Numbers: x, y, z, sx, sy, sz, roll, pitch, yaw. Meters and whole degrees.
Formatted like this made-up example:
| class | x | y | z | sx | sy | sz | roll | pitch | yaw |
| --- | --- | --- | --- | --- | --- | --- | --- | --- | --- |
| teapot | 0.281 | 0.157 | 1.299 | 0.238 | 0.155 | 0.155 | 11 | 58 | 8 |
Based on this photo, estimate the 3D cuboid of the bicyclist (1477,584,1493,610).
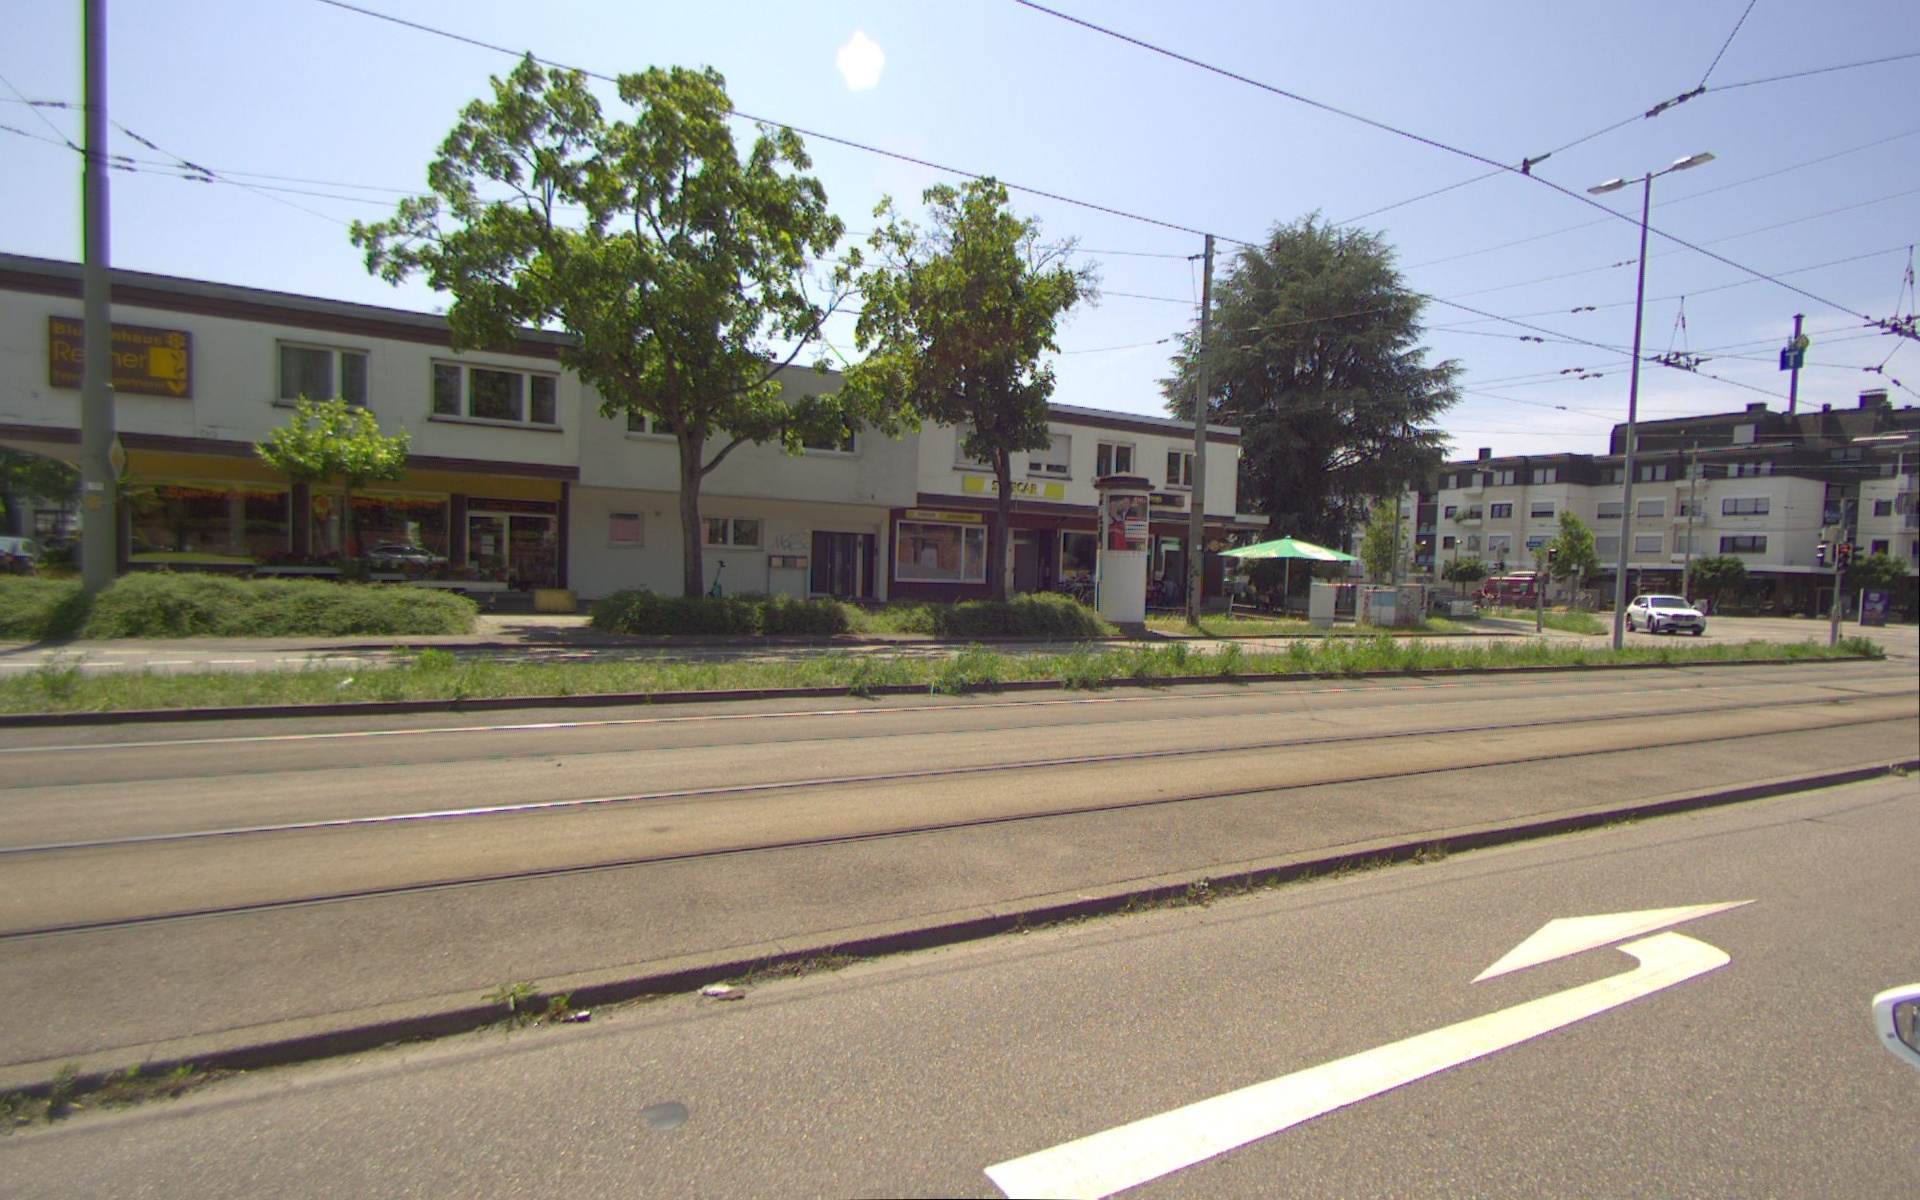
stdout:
| class | x | y | z | sx | sy | sz | roll | pitch | yaw |
| --- | --- | --- | --- | --- | --- | --- | --- | --- | --- |
| bicyclist | 31.639 | -0.186 | 60.519 | 0.741 | 1.521 | 0.480 | 2 | 0 | 39 |

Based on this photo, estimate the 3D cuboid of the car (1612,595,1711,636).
| class | x | y | z | sx | sy | sz | roll | pitch | yaw |
| --- | --- | --- | --- | --- | --- | --- | --- | --- | --- |
| car | 29.842 | 0.638 | 42.900 | 1.694 | 1.631 | 4.572 | 2 | 0 | 10 |

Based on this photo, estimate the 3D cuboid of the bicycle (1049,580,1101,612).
| class | x | y | z | sx | sy | sz | roll | pitch | yaw |
| --- | --- | --- | --- | --- | --- | --- | --- | --- | --- |
| bicycle | 3.842 | -0.126 | 33.513 | 1.738 | 0.992 | 0.536 | 2 | 0 | -30 |

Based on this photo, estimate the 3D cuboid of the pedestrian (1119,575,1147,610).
| class | x | y | z | sx | sy | sz | roll | pitch | yaw |
| --- | --- | --- | --- | --- | --- | --- | --- | --- | --- |
| pedestrian | 6.524 | -0.280 | 37.885 | 0.832 | 1.285 | 0.586 | 2 | 0 | -30 |

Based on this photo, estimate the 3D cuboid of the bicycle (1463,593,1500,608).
| class | x | y | z | sx | sy | sz | roll | pitch | yaw |
| --- | --- | --- | --- | --- | --- | --- | --- | --- | --- |
| bicycle | 31.470 | 0.024 | 60.634 | 1.957 | 0.794 | 0.464 | 2 | 0 | 40 |

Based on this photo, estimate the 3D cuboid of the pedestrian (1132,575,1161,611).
| class | x | y | z | sx | sy | sz | roll | pitch | yaw |
| --- | --- | --- | --- | --- | --- | --- | --- | --- | --- |
| pedestrian | 6.904 | -0.262 | 37.199 | 0.832 | 1.285 | 0.586 | 2 | 0 | -30 |

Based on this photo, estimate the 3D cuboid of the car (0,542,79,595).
| class | x | y | z | sx | sy | sz | roll | pitch | yaw |
| --- | --- | --- | --- | --- | --- | --- | --- | --- | --- |
| car | -27.729 | -0.901 | 29.404 | 1.975 | 1.440 | 4.115 | 1 | 0 | -28 |

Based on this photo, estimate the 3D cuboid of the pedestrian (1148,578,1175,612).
| class | x | y | z | sx | sy | sz | roll | pitch | yaw |
| --- | --- | --- | --- | --- | --- | --- | --- | --- | --- |
| pedestrian | 7.709 | -0.197 | 38.428 | 0.832 | 1.285 | 0.586 | 2 | 0 | -30 |

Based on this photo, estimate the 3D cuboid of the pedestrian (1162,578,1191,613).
| class | x | y | z | sx | sy | sz | roll | pitch | yaw |
| --- | --- | --- | --- | --- | --- | --- | --- | --- | --- |
| pedestrian | 8.153 | -0.173 | 37.845 | 0.832 | 1.285 | 0.586 | 2 | 0 | -30 |

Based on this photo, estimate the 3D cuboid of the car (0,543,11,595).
| class | x | y | z | sx | sy | sz | roll | pitch | yaw |
| --- | --- | --- | --- | --- | --- | --- | --- | --- | --- |
| car | -24.458 | -0.735 | 23.906 | 1.661 | 1.314 | 3.971 | 0 | 2 | -27 |

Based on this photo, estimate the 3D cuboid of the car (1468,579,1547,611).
| class | x | y | z | sx | sy | sz | roll | pitch | yaw |
| --- | --- | --- | --- | --- | --- | --- | --- | --- | --- |
| car | 43.170 | -0.392 | 79.313 | 2.219 | 2.372 | 5.038 | 2 | 0 | -31 |

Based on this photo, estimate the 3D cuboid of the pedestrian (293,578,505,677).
| class | x | y | z | sx | sy | sz | roll | pitch | yaw |
| --- | --- | --- | --- | --- | --- | --- | --- | --- | --- |
| pedestrian | -12.515 | 0.614 | 22.559 | 3.954 | 2.040 | 1.983 | 2 | 0 | -31 |

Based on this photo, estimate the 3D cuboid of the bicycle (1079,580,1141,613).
| class | x | y | z | sx | sy | sz | roll | pitch | yaw |
| --- | --- | --- | --- | --- | --- | --- | --- | --- | --- |
| bicycle | 4.873 | -0.111 | 32.592 | 2.005 | 0.992 | 0.607 | 2 | 0 | -30 |

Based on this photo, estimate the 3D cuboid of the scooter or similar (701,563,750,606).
| class | x | y | z | sx | sy | sz | roll | pitch | yaw |
| --- | --- | --- | --- | --- | --- | --- | --- | --- | --- |
| scooter or similar | -6.759 | -0.442 | 28.973 | 1.321 | 1.207 | 0.455 | 2 | 0 | -10 |
